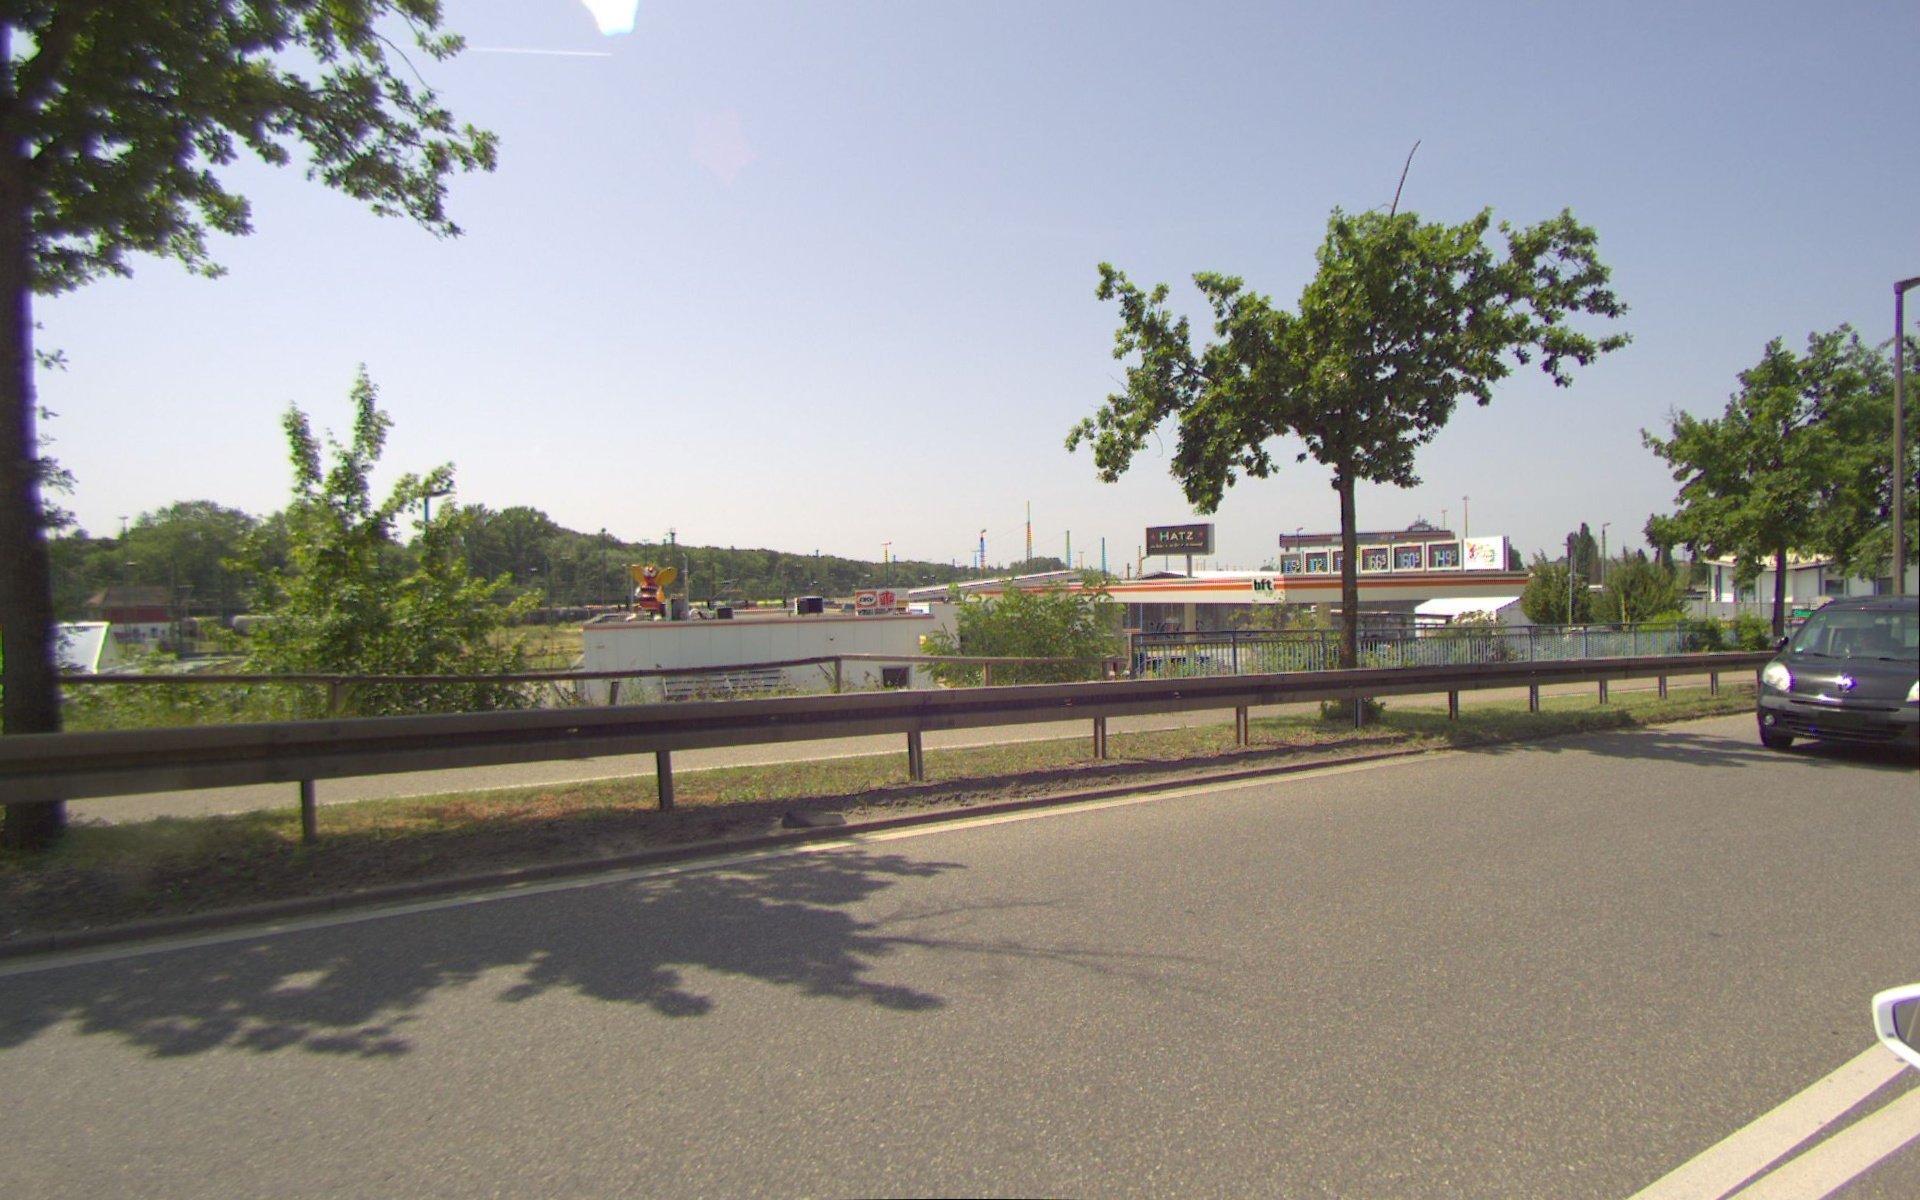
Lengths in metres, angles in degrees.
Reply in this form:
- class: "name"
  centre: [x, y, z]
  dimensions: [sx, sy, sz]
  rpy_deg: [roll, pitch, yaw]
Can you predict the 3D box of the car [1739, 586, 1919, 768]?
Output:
- class: "car"
  centre: [10.904, 0.788, 11.611]
  dimensions: [4.209, 1.783, 1.795]
  rpy_deg: [1, 1, -35]
